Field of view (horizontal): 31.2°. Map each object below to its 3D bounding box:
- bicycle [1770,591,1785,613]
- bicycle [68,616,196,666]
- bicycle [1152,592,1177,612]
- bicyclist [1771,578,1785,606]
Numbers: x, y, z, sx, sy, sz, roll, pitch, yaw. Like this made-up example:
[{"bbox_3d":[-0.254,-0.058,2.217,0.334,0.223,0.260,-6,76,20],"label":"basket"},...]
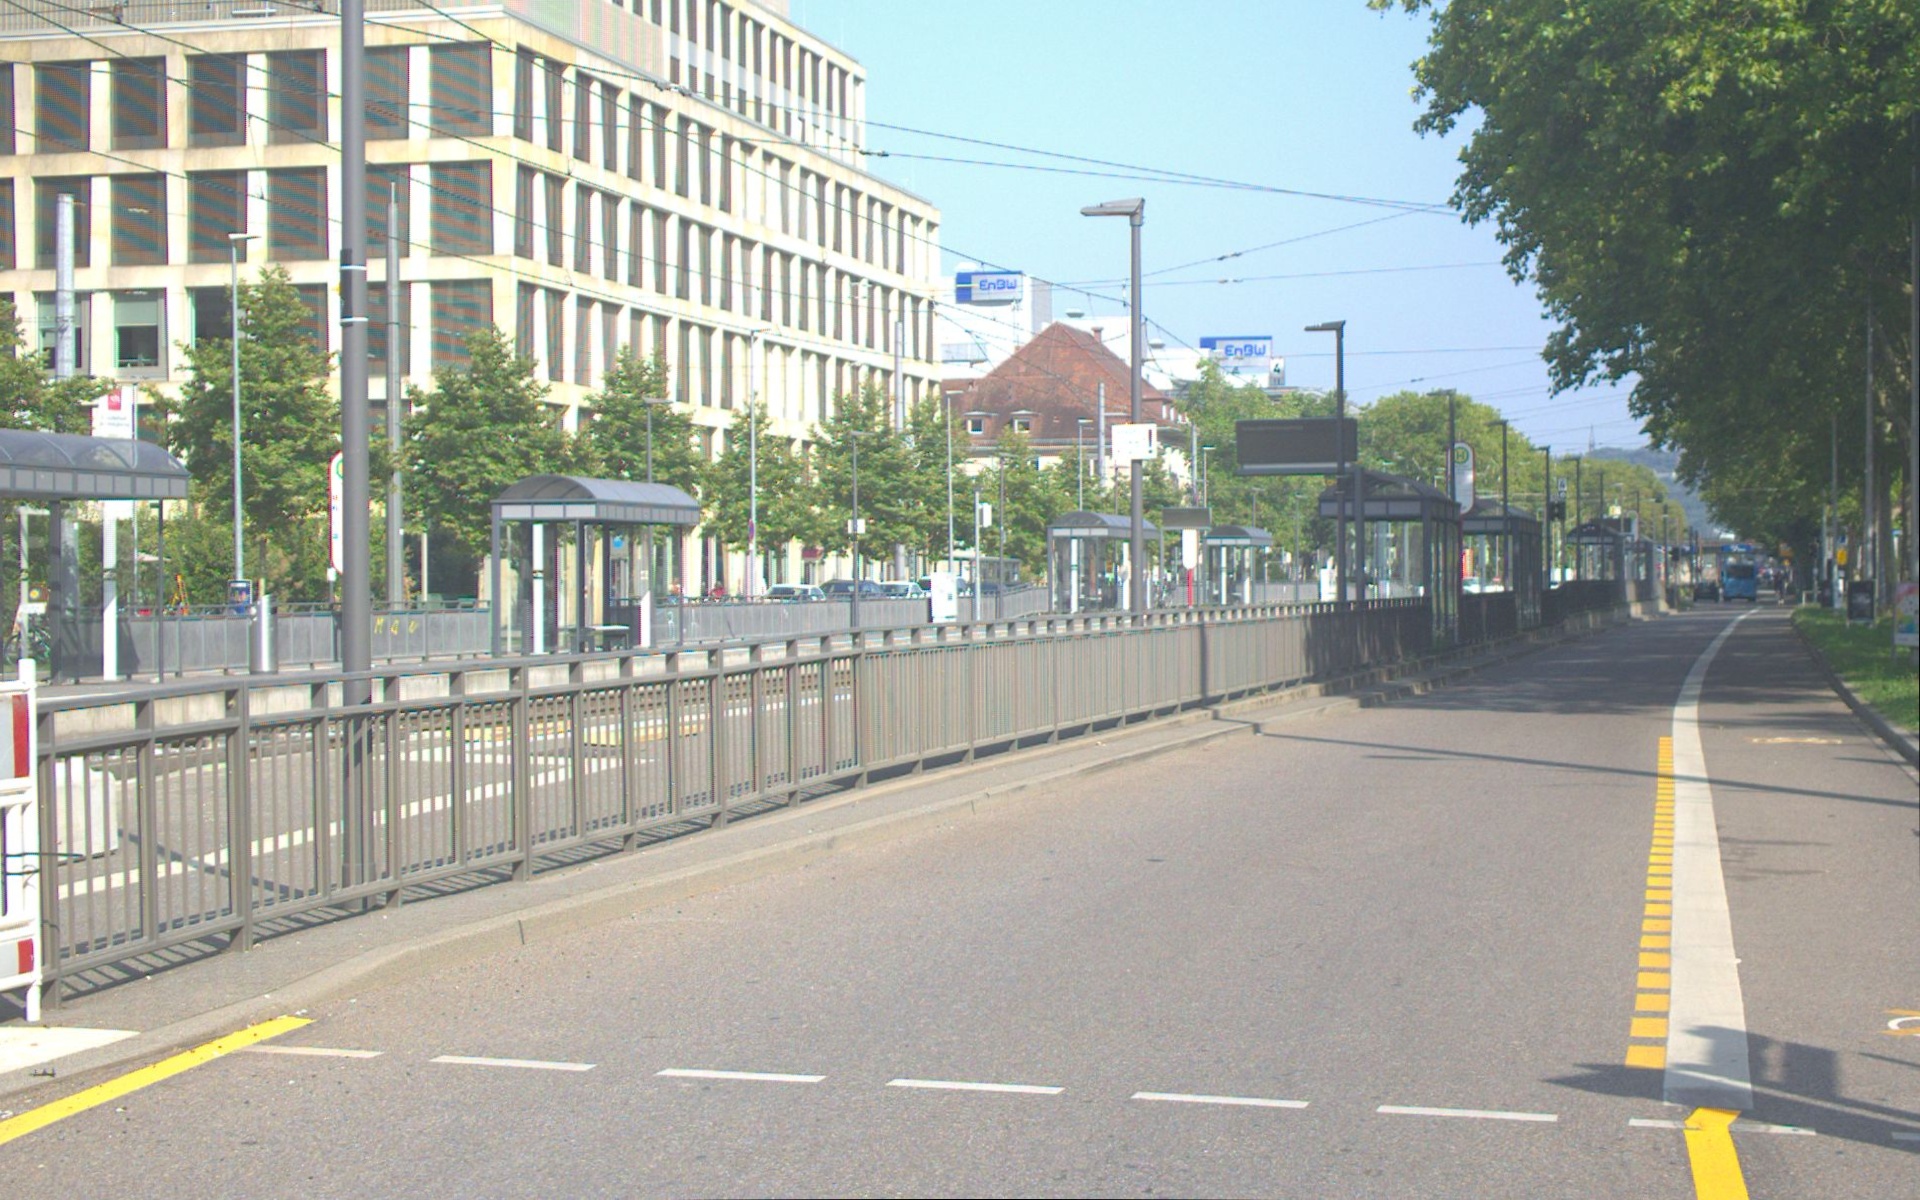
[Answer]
[{"bbox_3d":[41.770,0.093,175.575,0.715,1.104,2.507,1,0,14],"label":"bicycle"},{"bbox_3d":[-16.954,0.838,70.379,2.434,0.982,0.821,-1,0,12],"label":"bicycle"},{"bbox_3d":[6.999,0.070,117.504,0.477,0.660,1.612,0,0,18],"label":"bicycle"},{"bbox_3d":[41.754,-0.402,175.496,0.706,1.456,1.008,1,0,14],"label":"bicyclist"}]
